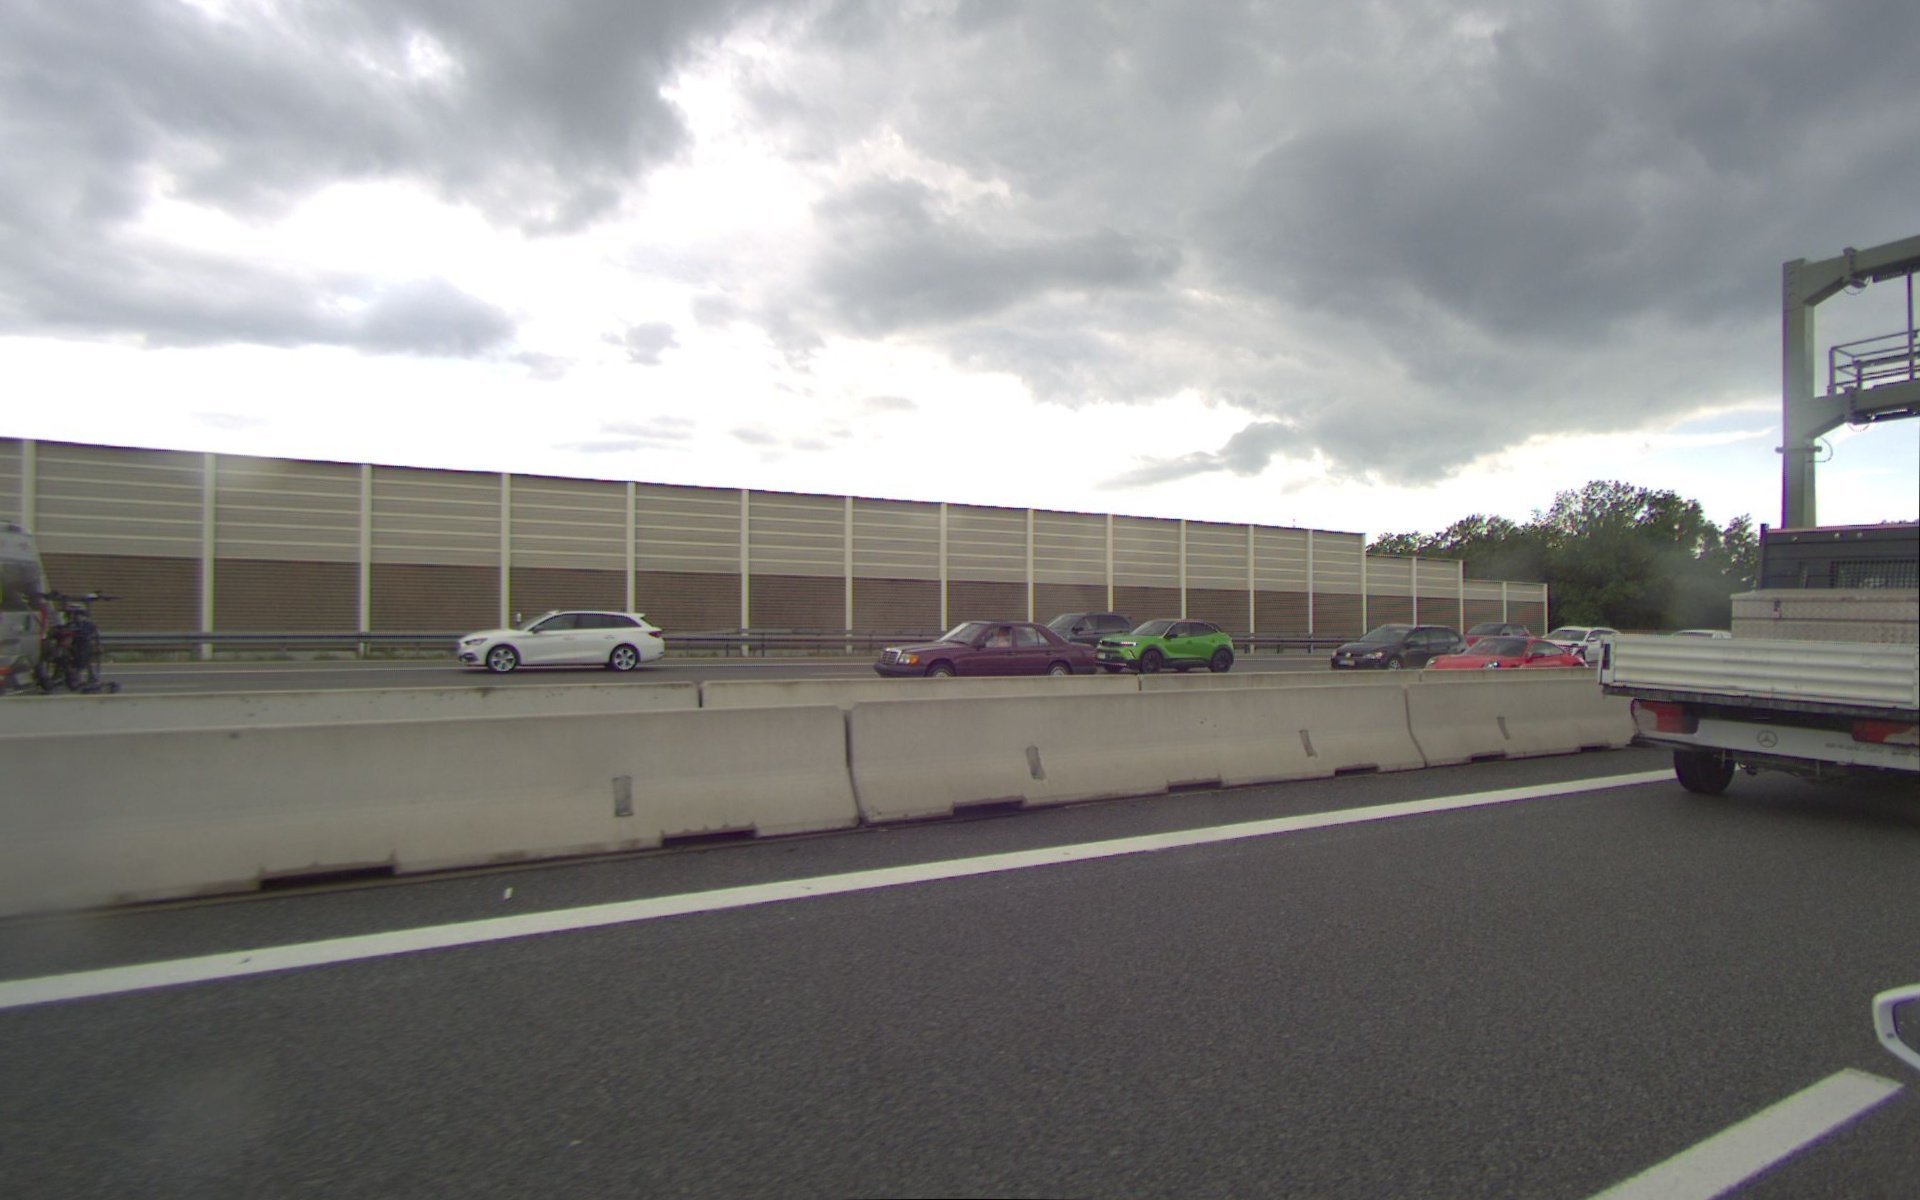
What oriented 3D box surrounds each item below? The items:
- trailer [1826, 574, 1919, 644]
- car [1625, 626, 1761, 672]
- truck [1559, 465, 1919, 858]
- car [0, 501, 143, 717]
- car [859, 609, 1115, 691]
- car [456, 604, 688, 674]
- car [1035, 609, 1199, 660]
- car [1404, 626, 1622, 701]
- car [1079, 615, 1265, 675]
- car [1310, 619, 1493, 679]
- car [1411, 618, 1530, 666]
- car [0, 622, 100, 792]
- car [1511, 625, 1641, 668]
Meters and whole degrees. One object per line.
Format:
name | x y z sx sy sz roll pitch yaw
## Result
trailer | 59.257 0.629 62.956 14.278 4.085 2.918 1 0 -29
car | 25.999 1.712 35.599 4.937 1.511 2.051 2 -1 -29
truck | 8.523 0.429 9.100 7.067 2.472 2.295 1 0 -31
car | -14.302 0.049 11.724 7.000 2.584 2.373 1 -1 -29
car | 0.601 0.988 20.707 4.937 1.511 2.051 2 -1 -29
car | -9.258 0.917 24.053 4.937 1.511 2.051 2 -1 -29
car | 4.986 1.080 31.758 4.937 1.511 2.051 2 -1 -29
car | 12.610 1.388 22.834 4.937 1.511 2.051 2 -1 -29
car | 5.918 1.235 27.861 4.937 1.511 2.051 2 -1 -29
car | 12.195 1.332 27.674 4.937 1.511 2.051 2 -1 -29
car | 21.305 1.735 41.869 4.937 1.905 2.051 2 -1 -29
car | -11.179 0.949 8.975 4.937 1.511 2.051 2 -1 -29
car | 23.326 1.751 38.018 4.937 1.511 2.051 2 -1 -29
